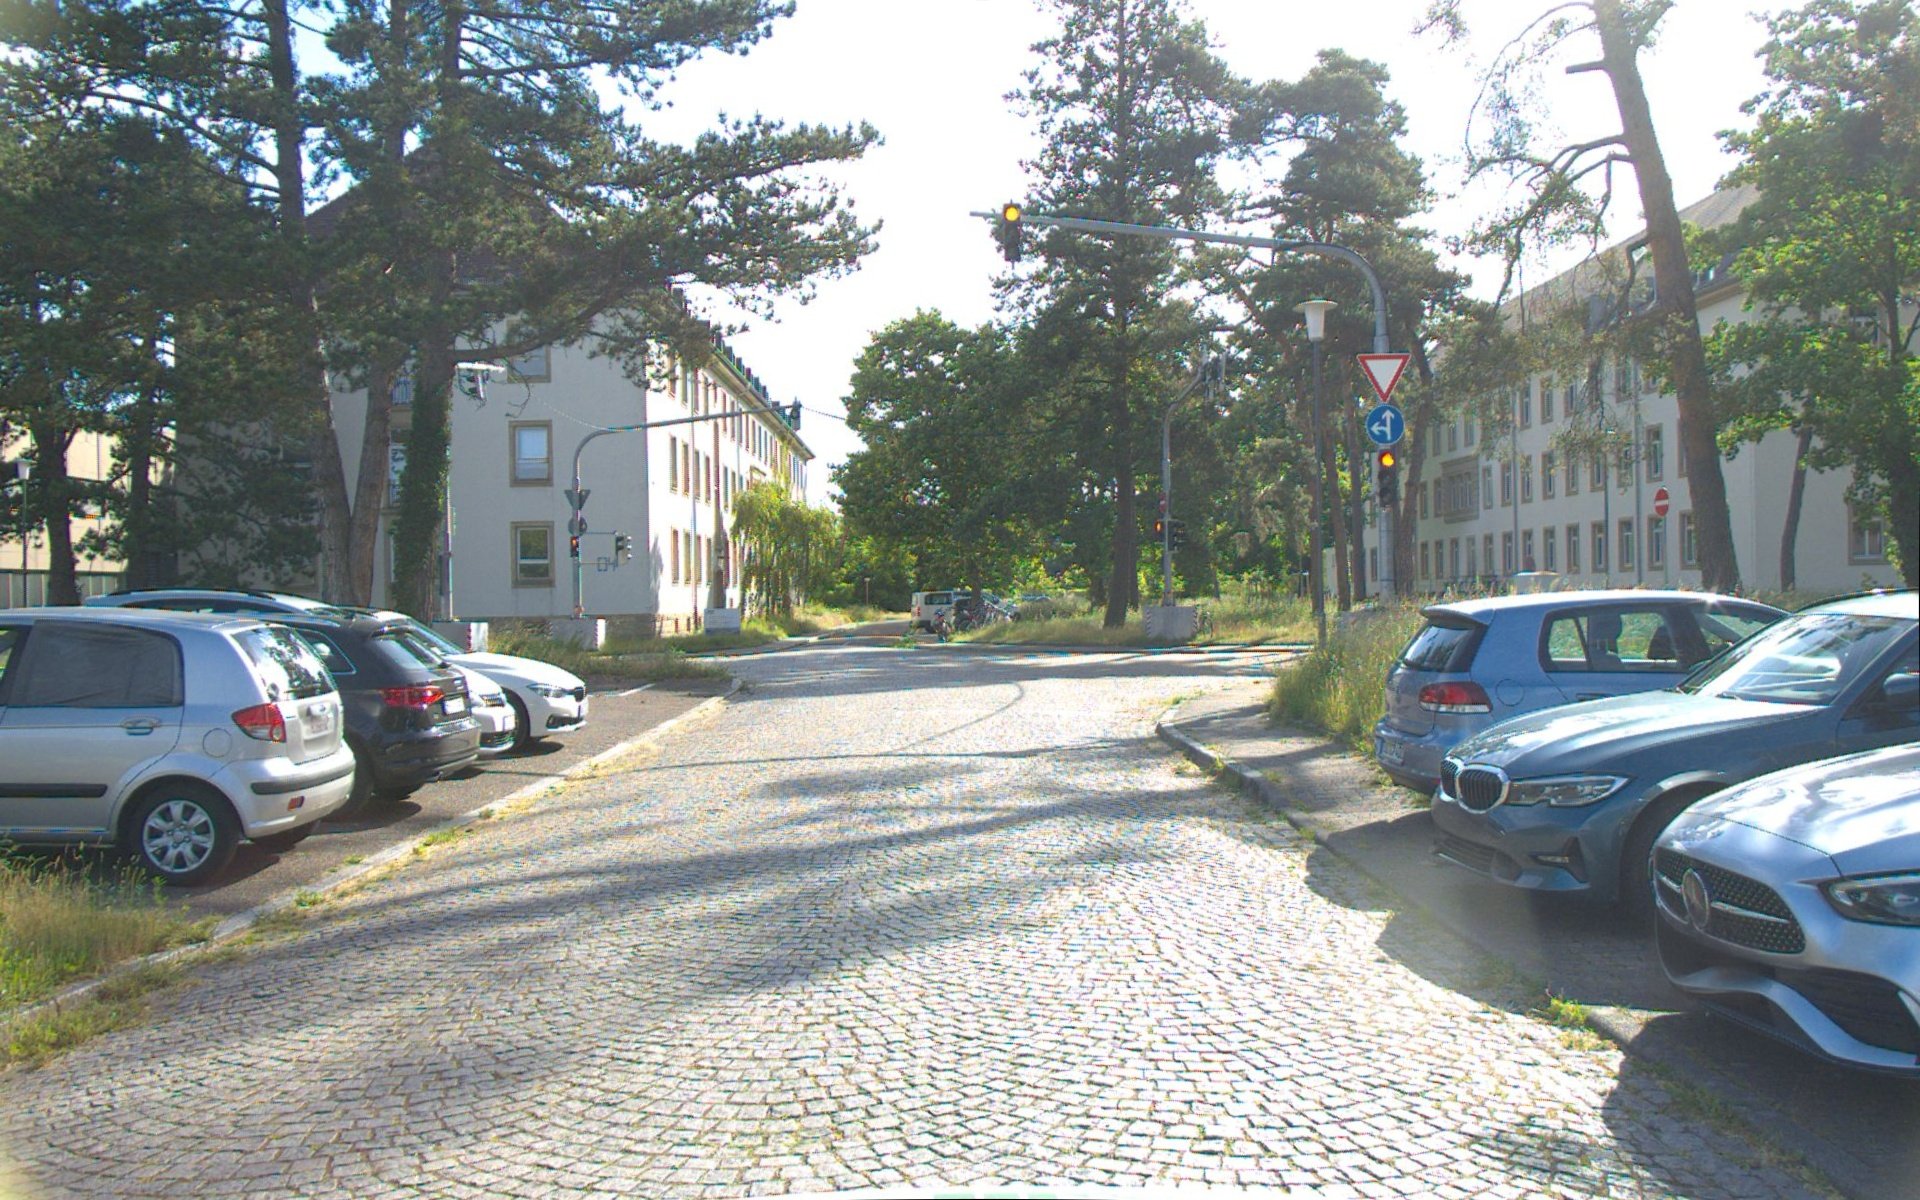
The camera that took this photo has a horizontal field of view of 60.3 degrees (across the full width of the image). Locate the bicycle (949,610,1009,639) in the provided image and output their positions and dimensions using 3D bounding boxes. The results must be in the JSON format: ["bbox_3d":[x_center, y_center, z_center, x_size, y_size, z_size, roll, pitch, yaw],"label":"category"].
[{"bbox_3d":[0.672,0.882,59.622,2.069,1.028,0.620,1,-1,-8],"label":"bicycle"}]

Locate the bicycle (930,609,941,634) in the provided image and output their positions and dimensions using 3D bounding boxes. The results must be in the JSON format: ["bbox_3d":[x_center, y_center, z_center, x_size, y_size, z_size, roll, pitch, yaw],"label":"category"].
[{"bbox_3d":[-1.038,0.911,69.255,0.409,1.028,1.483,1,-1,0],"label":"bicycle"}]

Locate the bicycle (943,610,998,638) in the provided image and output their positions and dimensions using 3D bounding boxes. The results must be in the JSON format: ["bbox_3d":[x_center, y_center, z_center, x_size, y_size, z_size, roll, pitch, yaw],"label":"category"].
[{"bbox_3d":[0.409,0.904,62.214,1.990,1.028,0.626,1,-1,-8],"label":"bicycle"}]

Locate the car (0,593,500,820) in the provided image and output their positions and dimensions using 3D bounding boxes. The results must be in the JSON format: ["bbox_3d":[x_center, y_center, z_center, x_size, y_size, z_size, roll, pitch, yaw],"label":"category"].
[{"bbox_3d":[-5.634,0.745,12.360,3.908,1.506,1.802,1,0,-4],"label":"car"}]

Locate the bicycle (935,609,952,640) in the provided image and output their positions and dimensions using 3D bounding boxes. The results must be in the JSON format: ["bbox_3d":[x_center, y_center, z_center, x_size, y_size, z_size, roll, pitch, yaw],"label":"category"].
[{"bbox_3d":[-0.565,0.815,56.047,0.458,1.028,1.585,1,-1,-4],"label":"bicycle"}]

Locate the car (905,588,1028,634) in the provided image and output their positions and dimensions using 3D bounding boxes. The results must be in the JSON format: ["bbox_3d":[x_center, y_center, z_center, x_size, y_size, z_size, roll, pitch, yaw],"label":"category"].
[{"bbox_3d":[0.296,0.529,77.691,5.437,2.049,1.989,1,-1,-19],"label":"car"}]

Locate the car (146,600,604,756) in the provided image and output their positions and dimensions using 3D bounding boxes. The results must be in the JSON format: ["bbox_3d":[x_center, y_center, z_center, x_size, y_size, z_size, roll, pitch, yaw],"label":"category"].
[{"bbox_3d":[-6.124,0.800,17.725,4.247,1.494,1.829,1,0,-4],"label":"car"}]

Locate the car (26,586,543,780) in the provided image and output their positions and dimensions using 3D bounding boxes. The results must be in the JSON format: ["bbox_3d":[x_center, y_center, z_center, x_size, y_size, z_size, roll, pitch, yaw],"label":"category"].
[{"bbox_3d":[-6.088,0.722,15.315,3.999,1.621,1.884,1,0,-4],"label":"car"}]

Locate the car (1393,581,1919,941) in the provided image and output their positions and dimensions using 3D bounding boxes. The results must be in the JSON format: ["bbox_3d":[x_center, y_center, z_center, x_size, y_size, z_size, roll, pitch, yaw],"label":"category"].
[{"bbox_3d":[4.569,0.653,8.022,4.466,1.440,1.636,-3,0,0],"label":"car"}]

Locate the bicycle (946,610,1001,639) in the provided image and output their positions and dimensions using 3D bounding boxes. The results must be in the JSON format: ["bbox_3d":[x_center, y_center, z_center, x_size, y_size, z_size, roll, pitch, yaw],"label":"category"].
[{"bbox_3d":[0.491,0.896,61.333,1.967,1.028,0.631,1,-1,-8],"label":"bicycle"}]

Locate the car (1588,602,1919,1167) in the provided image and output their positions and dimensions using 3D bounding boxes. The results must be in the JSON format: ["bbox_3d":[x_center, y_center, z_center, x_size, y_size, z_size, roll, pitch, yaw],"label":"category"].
[{"bbox_3d":[4.557,0.693,5.341,4.341,1.440,1.781,-3,0,0],"label":"car"}]

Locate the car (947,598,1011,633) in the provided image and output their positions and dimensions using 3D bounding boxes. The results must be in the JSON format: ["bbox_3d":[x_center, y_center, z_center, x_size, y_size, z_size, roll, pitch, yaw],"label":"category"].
[{"bbox_3d":[0.847,0.678,74.100,2.727,1.492,1.669,1,-1,-5],"label":"car"}]

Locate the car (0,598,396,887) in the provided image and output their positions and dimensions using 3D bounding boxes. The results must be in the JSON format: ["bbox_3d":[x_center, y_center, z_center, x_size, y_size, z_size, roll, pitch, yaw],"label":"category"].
[{"bbox_3d":[-5.432,0.761,9.699,3.672,1.513,1.645,1,0,-4],"label":"car"}]

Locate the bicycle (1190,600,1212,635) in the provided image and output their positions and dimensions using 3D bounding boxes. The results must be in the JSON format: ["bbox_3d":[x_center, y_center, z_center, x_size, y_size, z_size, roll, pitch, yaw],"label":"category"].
[{"bbox_3d":[6.923,0.505,47.602,0.294,0.977,1.585,1,-1,-4],"label":"bicycle"}]

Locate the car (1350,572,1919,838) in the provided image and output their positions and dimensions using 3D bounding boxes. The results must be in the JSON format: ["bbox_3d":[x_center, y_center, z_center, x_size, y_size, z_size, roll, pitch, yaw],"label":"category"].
[{"bbox_3d":[4.664,0.621,10.803,3.803,1.440,1.636,-3,0,0],"label":"car"}]
